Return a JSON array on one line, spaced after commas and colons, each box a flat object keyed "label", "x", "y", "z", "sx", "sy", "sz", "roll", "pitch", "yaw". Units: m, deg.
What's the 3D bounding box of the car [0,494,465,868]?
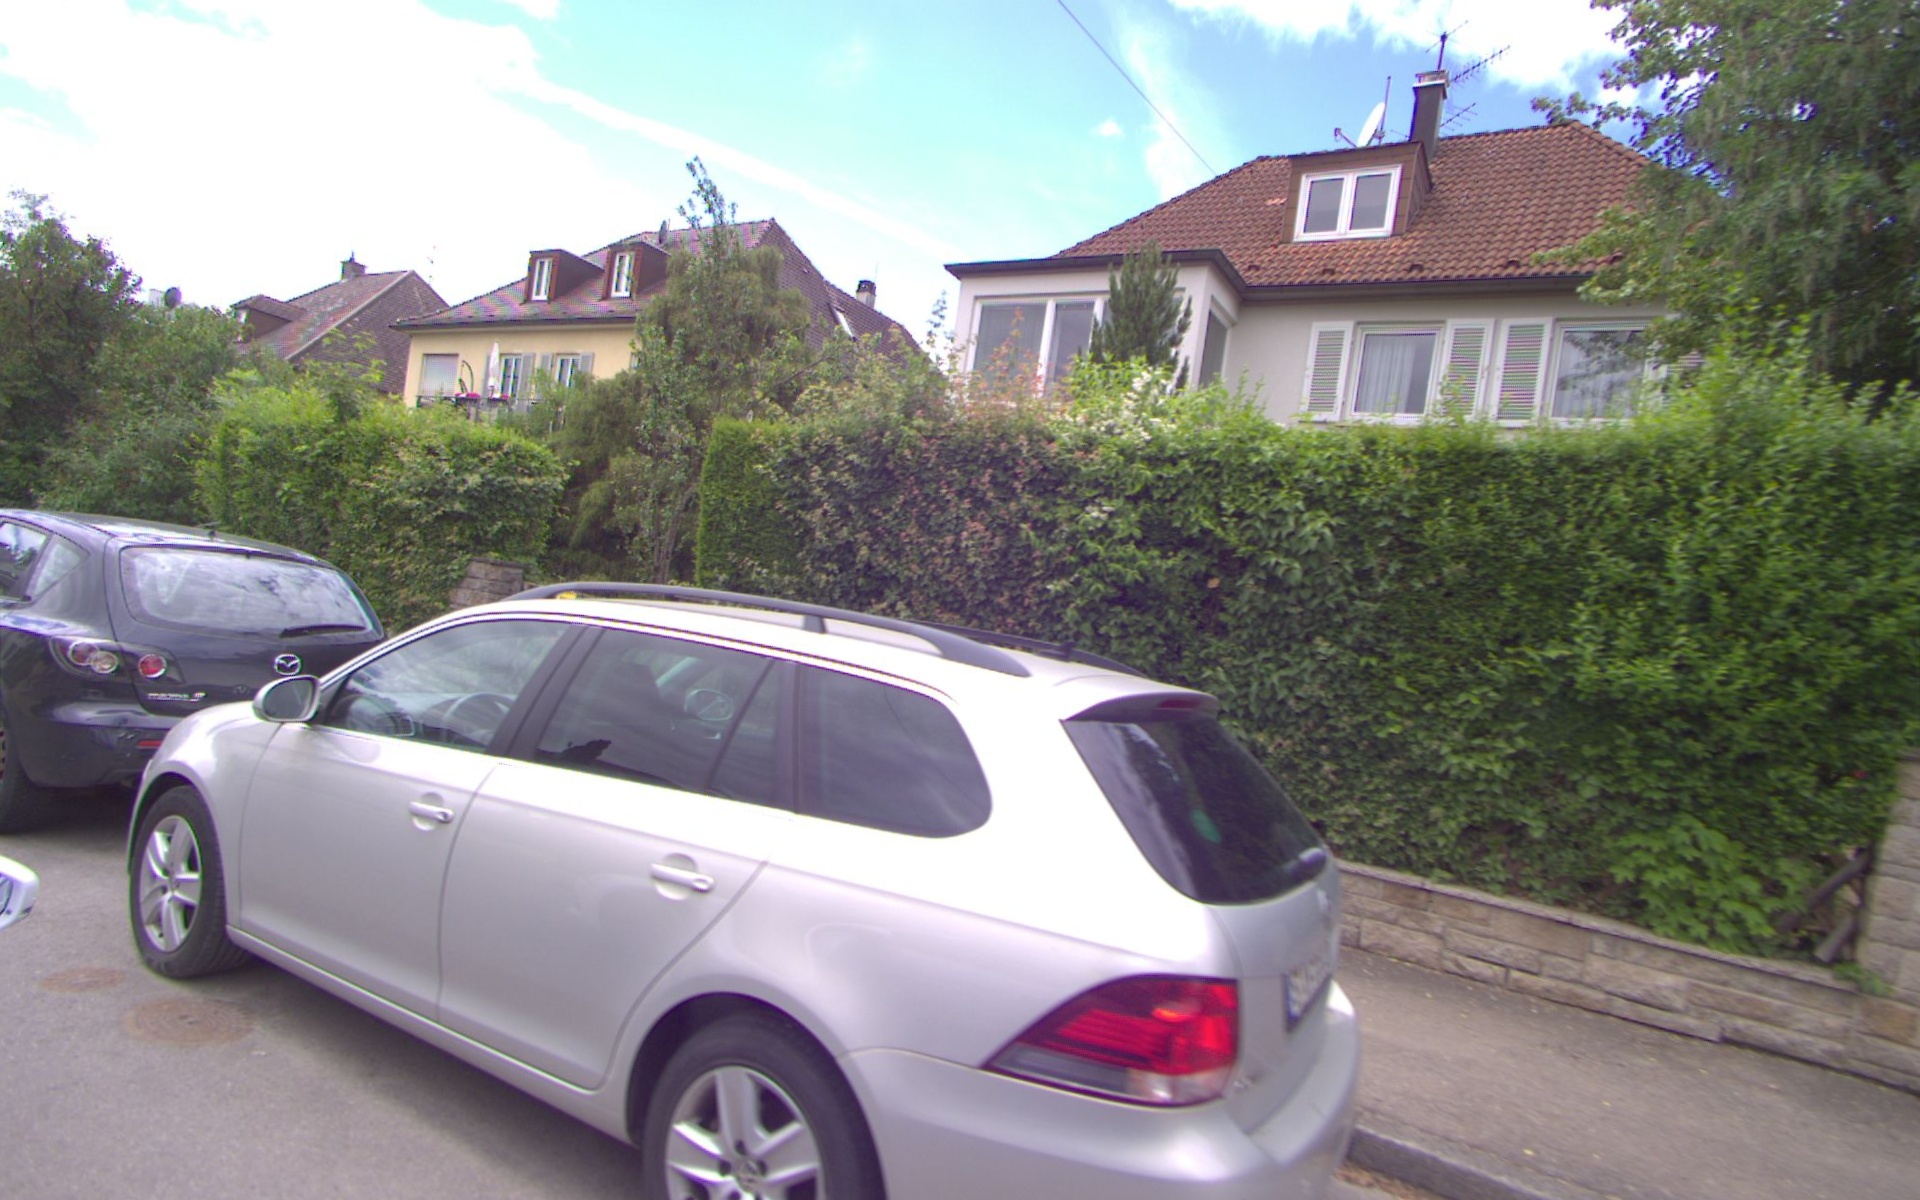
[{"label": "car", "x": -5.007, "y": 0.212, "z": 5.802, "sx": 4.069, "sy": 1.477, "sz": 1.721, "roll": 7, "pitch": -1, "yaw": 29}]

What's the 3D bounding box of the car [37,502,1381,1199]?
[{"label": "car", "x": -1.045, "y": 0.680, "z": 3.429, "sx": 4.283, "sy": 1.494, "sz": 1.760, "roll": 7, "pitch": -1, "yaw": 29}]
